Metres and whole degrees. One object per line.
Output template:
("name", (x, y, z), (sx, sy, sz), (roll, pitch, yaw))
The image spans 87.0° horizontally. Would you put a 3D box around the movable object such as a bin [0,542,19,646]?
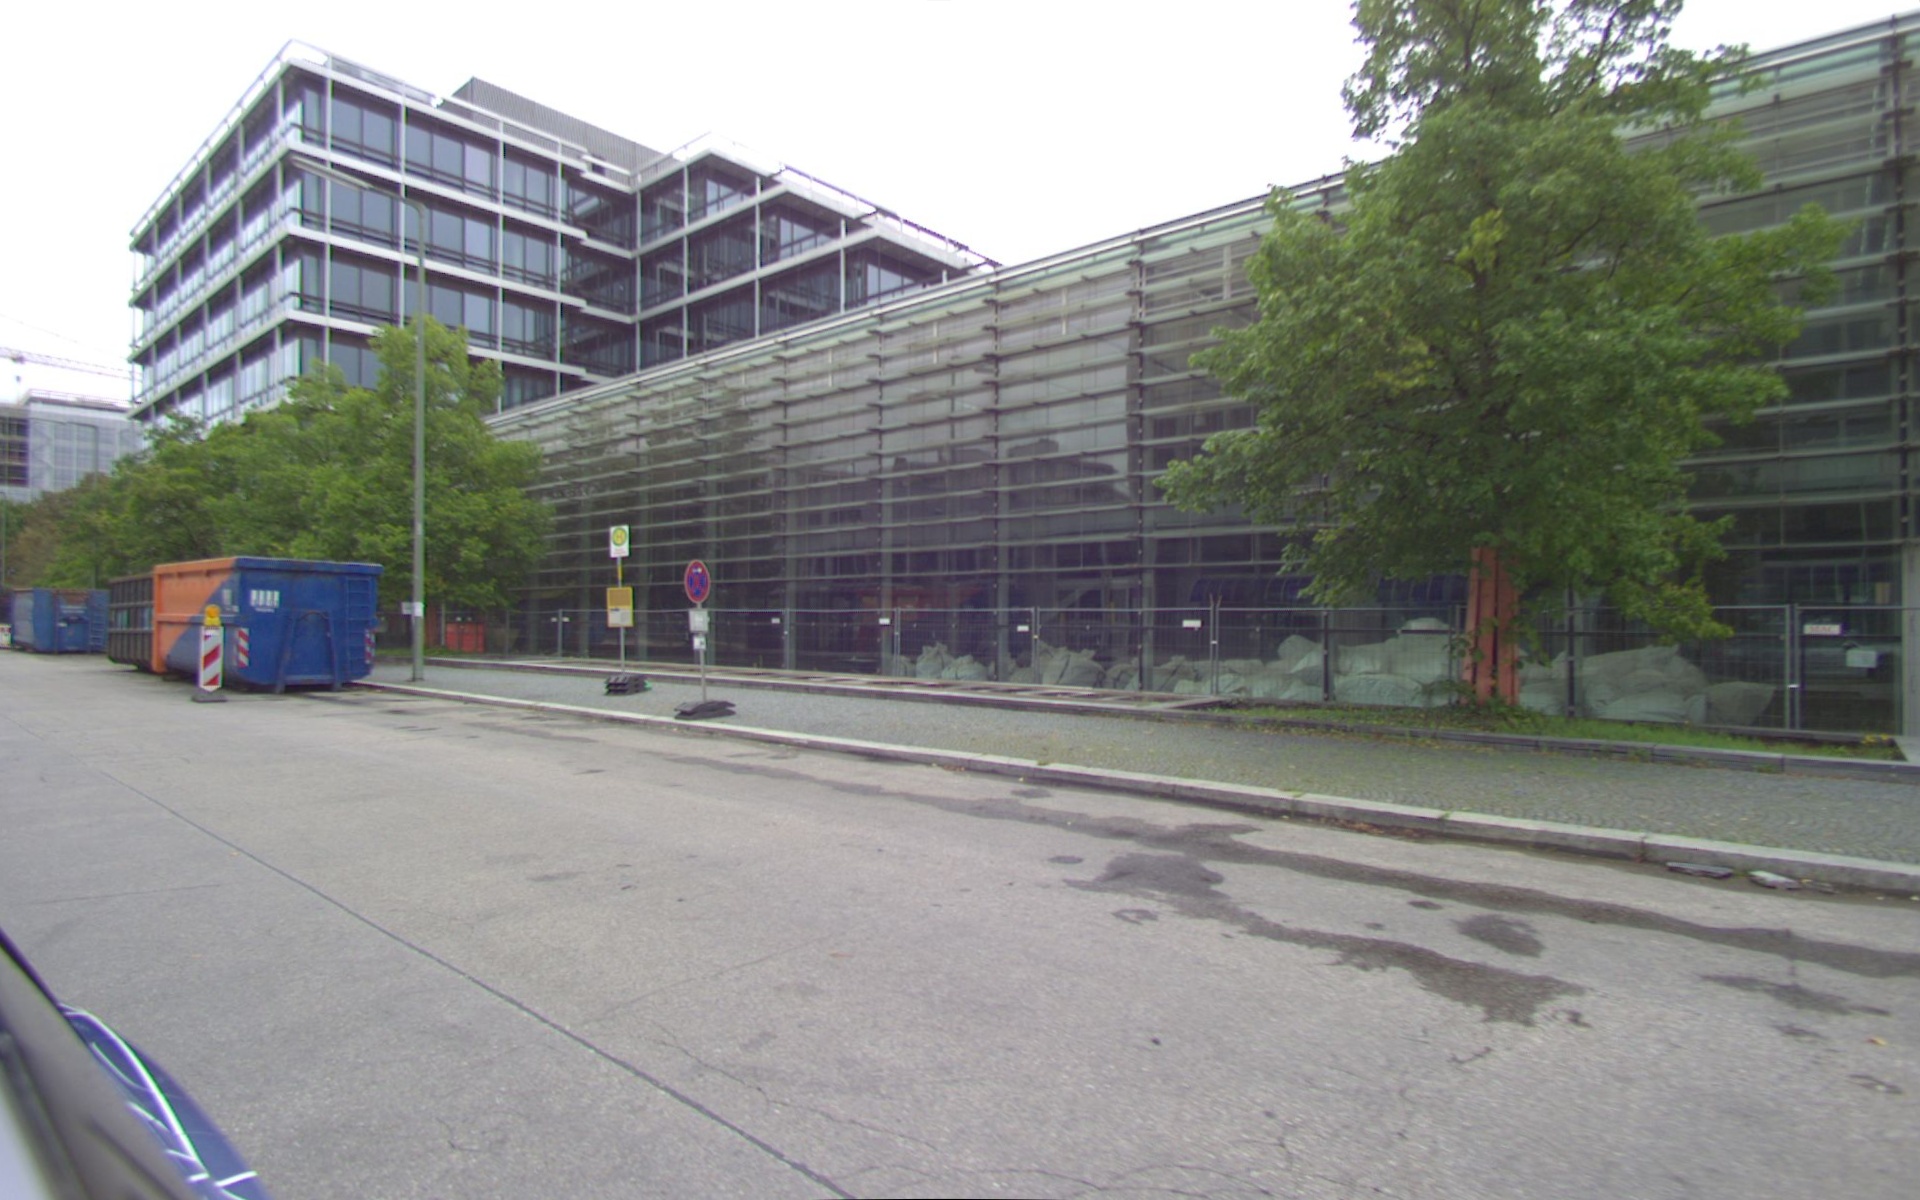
("movable object such as a bin", (-62.318, -0.291, 64.244), (8.338, 6.370, 3.198), (-1, -2, 44))
